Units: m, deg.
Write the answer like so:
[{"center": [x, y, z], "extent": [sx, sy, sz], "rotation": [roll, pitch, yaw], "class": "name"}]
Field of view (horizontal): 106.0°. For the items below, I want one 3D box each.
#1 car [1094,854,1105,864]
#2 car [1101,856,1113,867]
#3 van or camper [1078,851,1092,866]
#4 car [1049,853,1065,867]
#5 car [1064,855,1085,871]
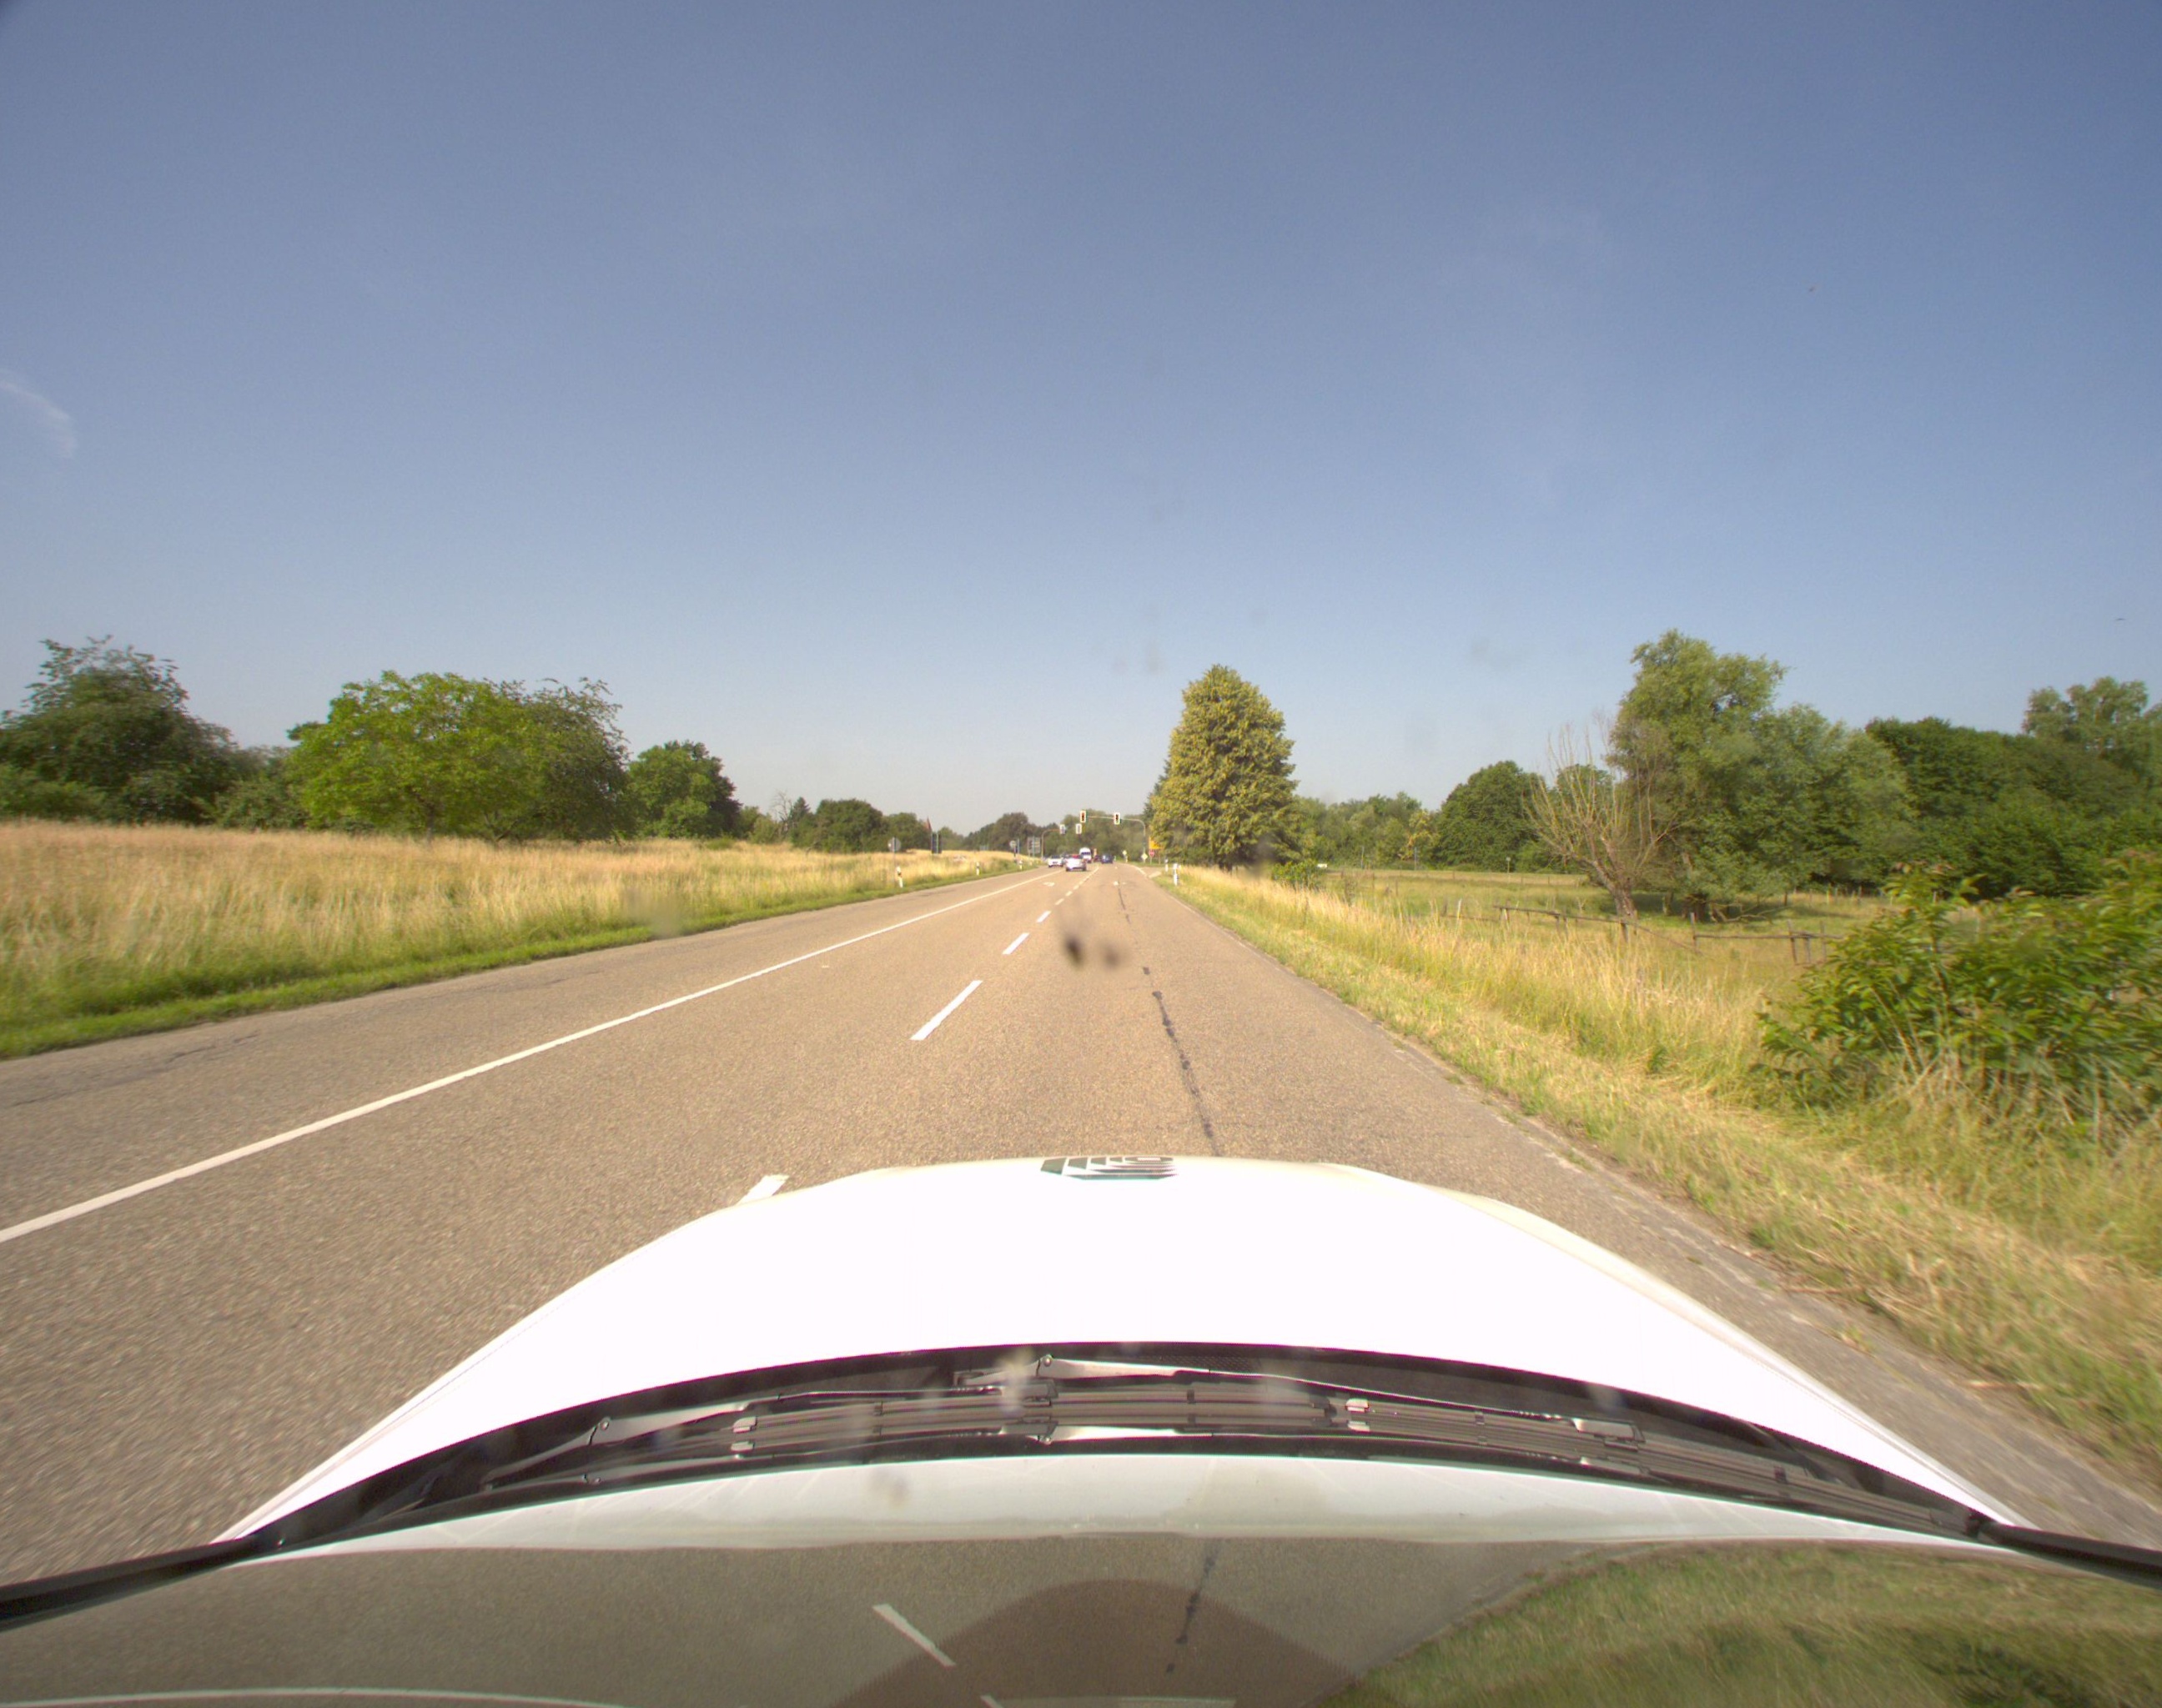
[{"center": [3.745, 0.978, 161.846], "extent": [1.986, 1.816, 4.001], "rotation": [3, 0, 2], "class": "car"}, {"center": [4.288, 1.206, 133.030], "extent": [1.809, 1.520, 4.002], "rotation": [3, 0, 2], "class": "car"}, {"center": [0.719, 0.819, 145.510], "extent": [2.255, 2.709, 5.266], "rotation": [0, 0, 3], "class": "van or camper"}, {"center": [-3.067, 0.744, 106.665], "extent": [1.584, 1.728, 4.005], "rotation": [3, 0, 5], "class": "car"}, {"center": [-0.607, 0.849, 77.575], "extent": [1.893, 1.512, 3.999], "rotation": [0, 0, 0], "class": "car"}]
